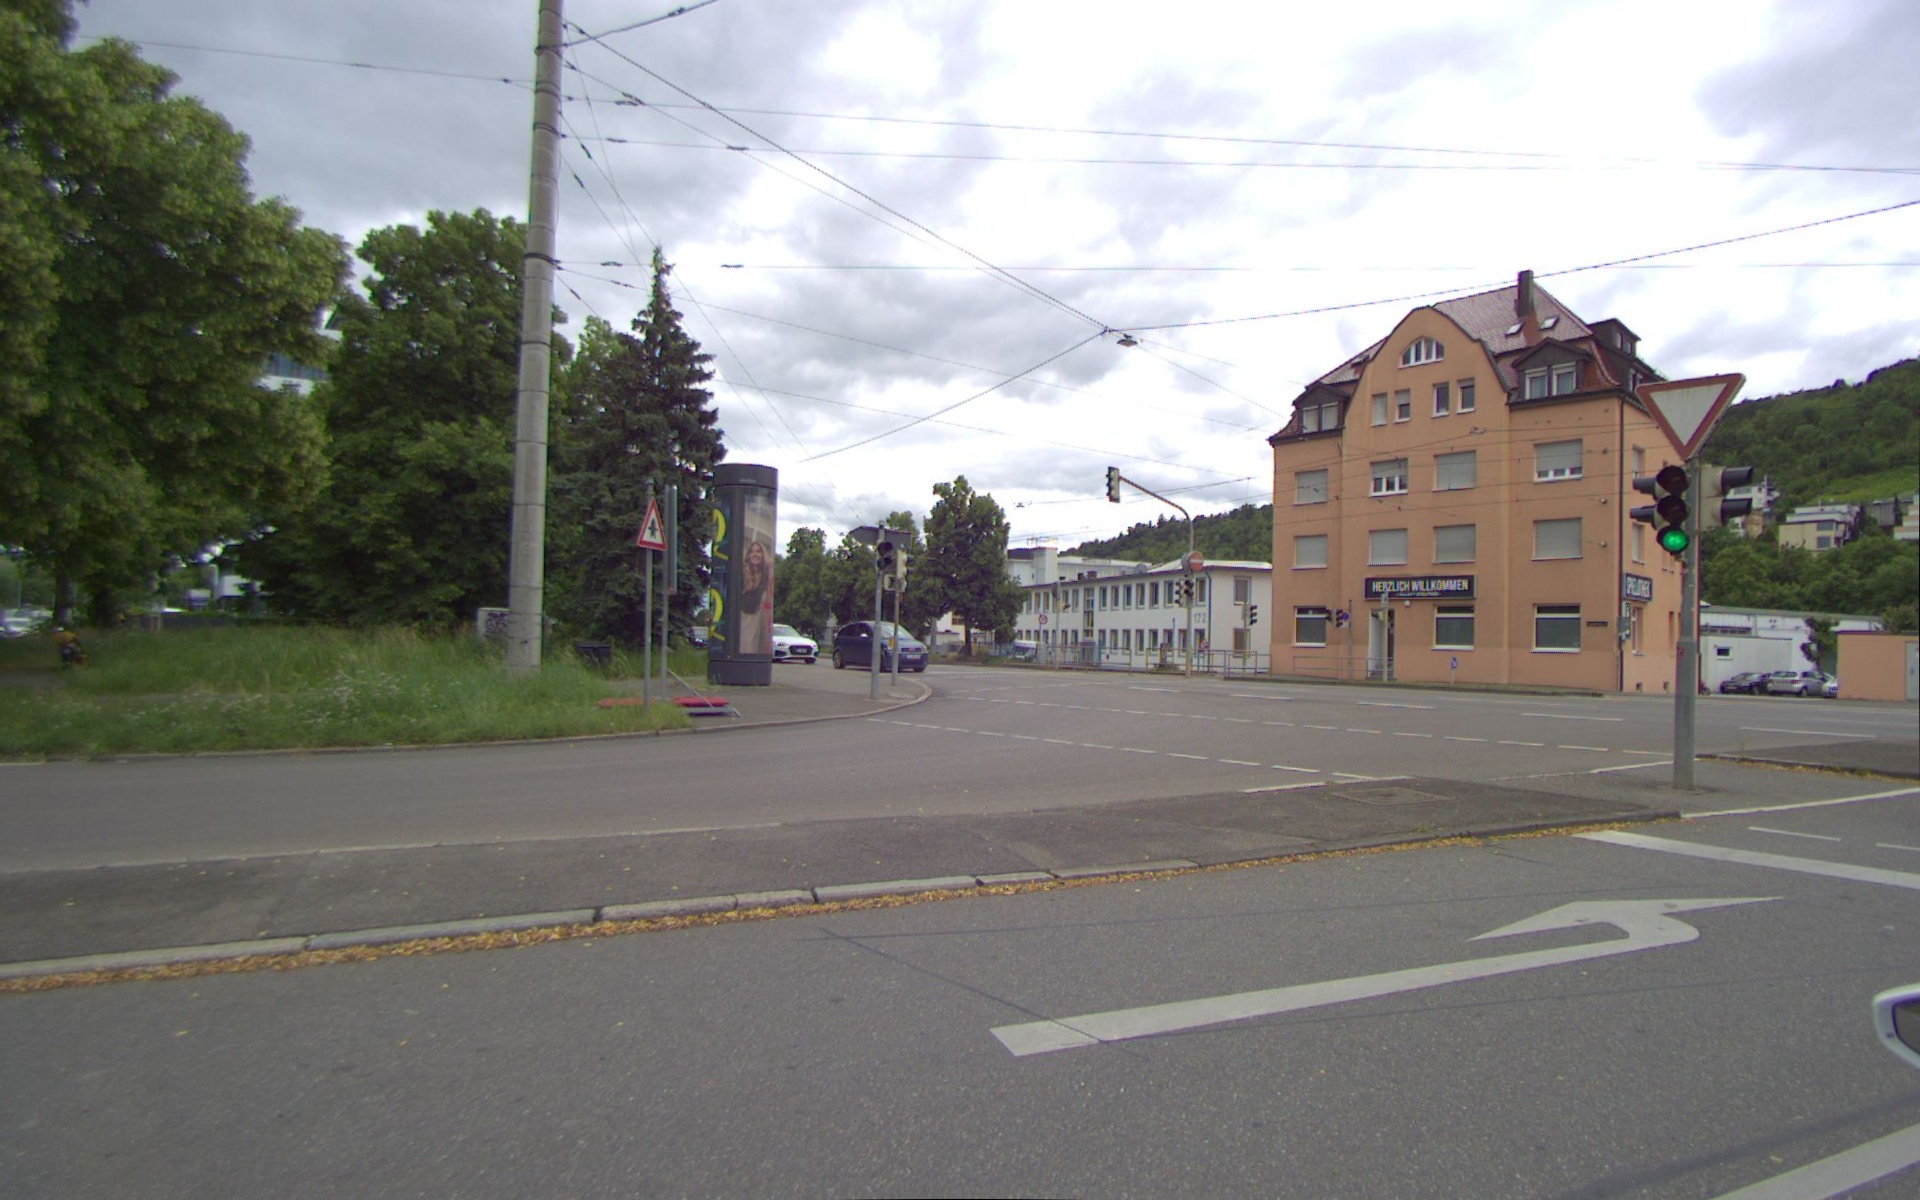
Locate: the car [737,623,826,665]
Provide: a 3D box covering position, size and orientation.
[{"bbox_3d":[-6.592,1.572,36.806,1.731,1.445,4.128,2,-2,-33],"label":"car"}]

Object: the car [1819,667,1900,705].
[{"bbox_3d":[50.924,4.875,56.858,4.456,1.863,1.985,4,0,-29],"label":"car"}]

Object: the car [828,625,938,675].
[{"bbox_3d":[-2.432,1.504,31.014,1.732,1.410,3.666,2,-2,-35],"label":"car"}]

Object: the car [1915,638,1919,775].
[{"bbox_3d":[9.048,1.007,7.574,3.329,1.439,1.589,1,-3,-26],"label":"car"}]

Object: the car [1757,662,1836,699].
[{"bbox_3d":[49.338,4.747,59.221,4.455,1.863,1.985,4,0,-28],"label":"car"}]

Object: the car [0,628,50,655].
[{"bbox_3d":[-71.612,3.178,76.928,1.812,1.970,4.533,2,-2,-30],"label":"car"}]

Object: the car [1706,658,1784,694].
[{"bbox_3d":[47.969,4.636,61.371,4.453,1.863,1.986,4,0,-27],"label":"car"}]
